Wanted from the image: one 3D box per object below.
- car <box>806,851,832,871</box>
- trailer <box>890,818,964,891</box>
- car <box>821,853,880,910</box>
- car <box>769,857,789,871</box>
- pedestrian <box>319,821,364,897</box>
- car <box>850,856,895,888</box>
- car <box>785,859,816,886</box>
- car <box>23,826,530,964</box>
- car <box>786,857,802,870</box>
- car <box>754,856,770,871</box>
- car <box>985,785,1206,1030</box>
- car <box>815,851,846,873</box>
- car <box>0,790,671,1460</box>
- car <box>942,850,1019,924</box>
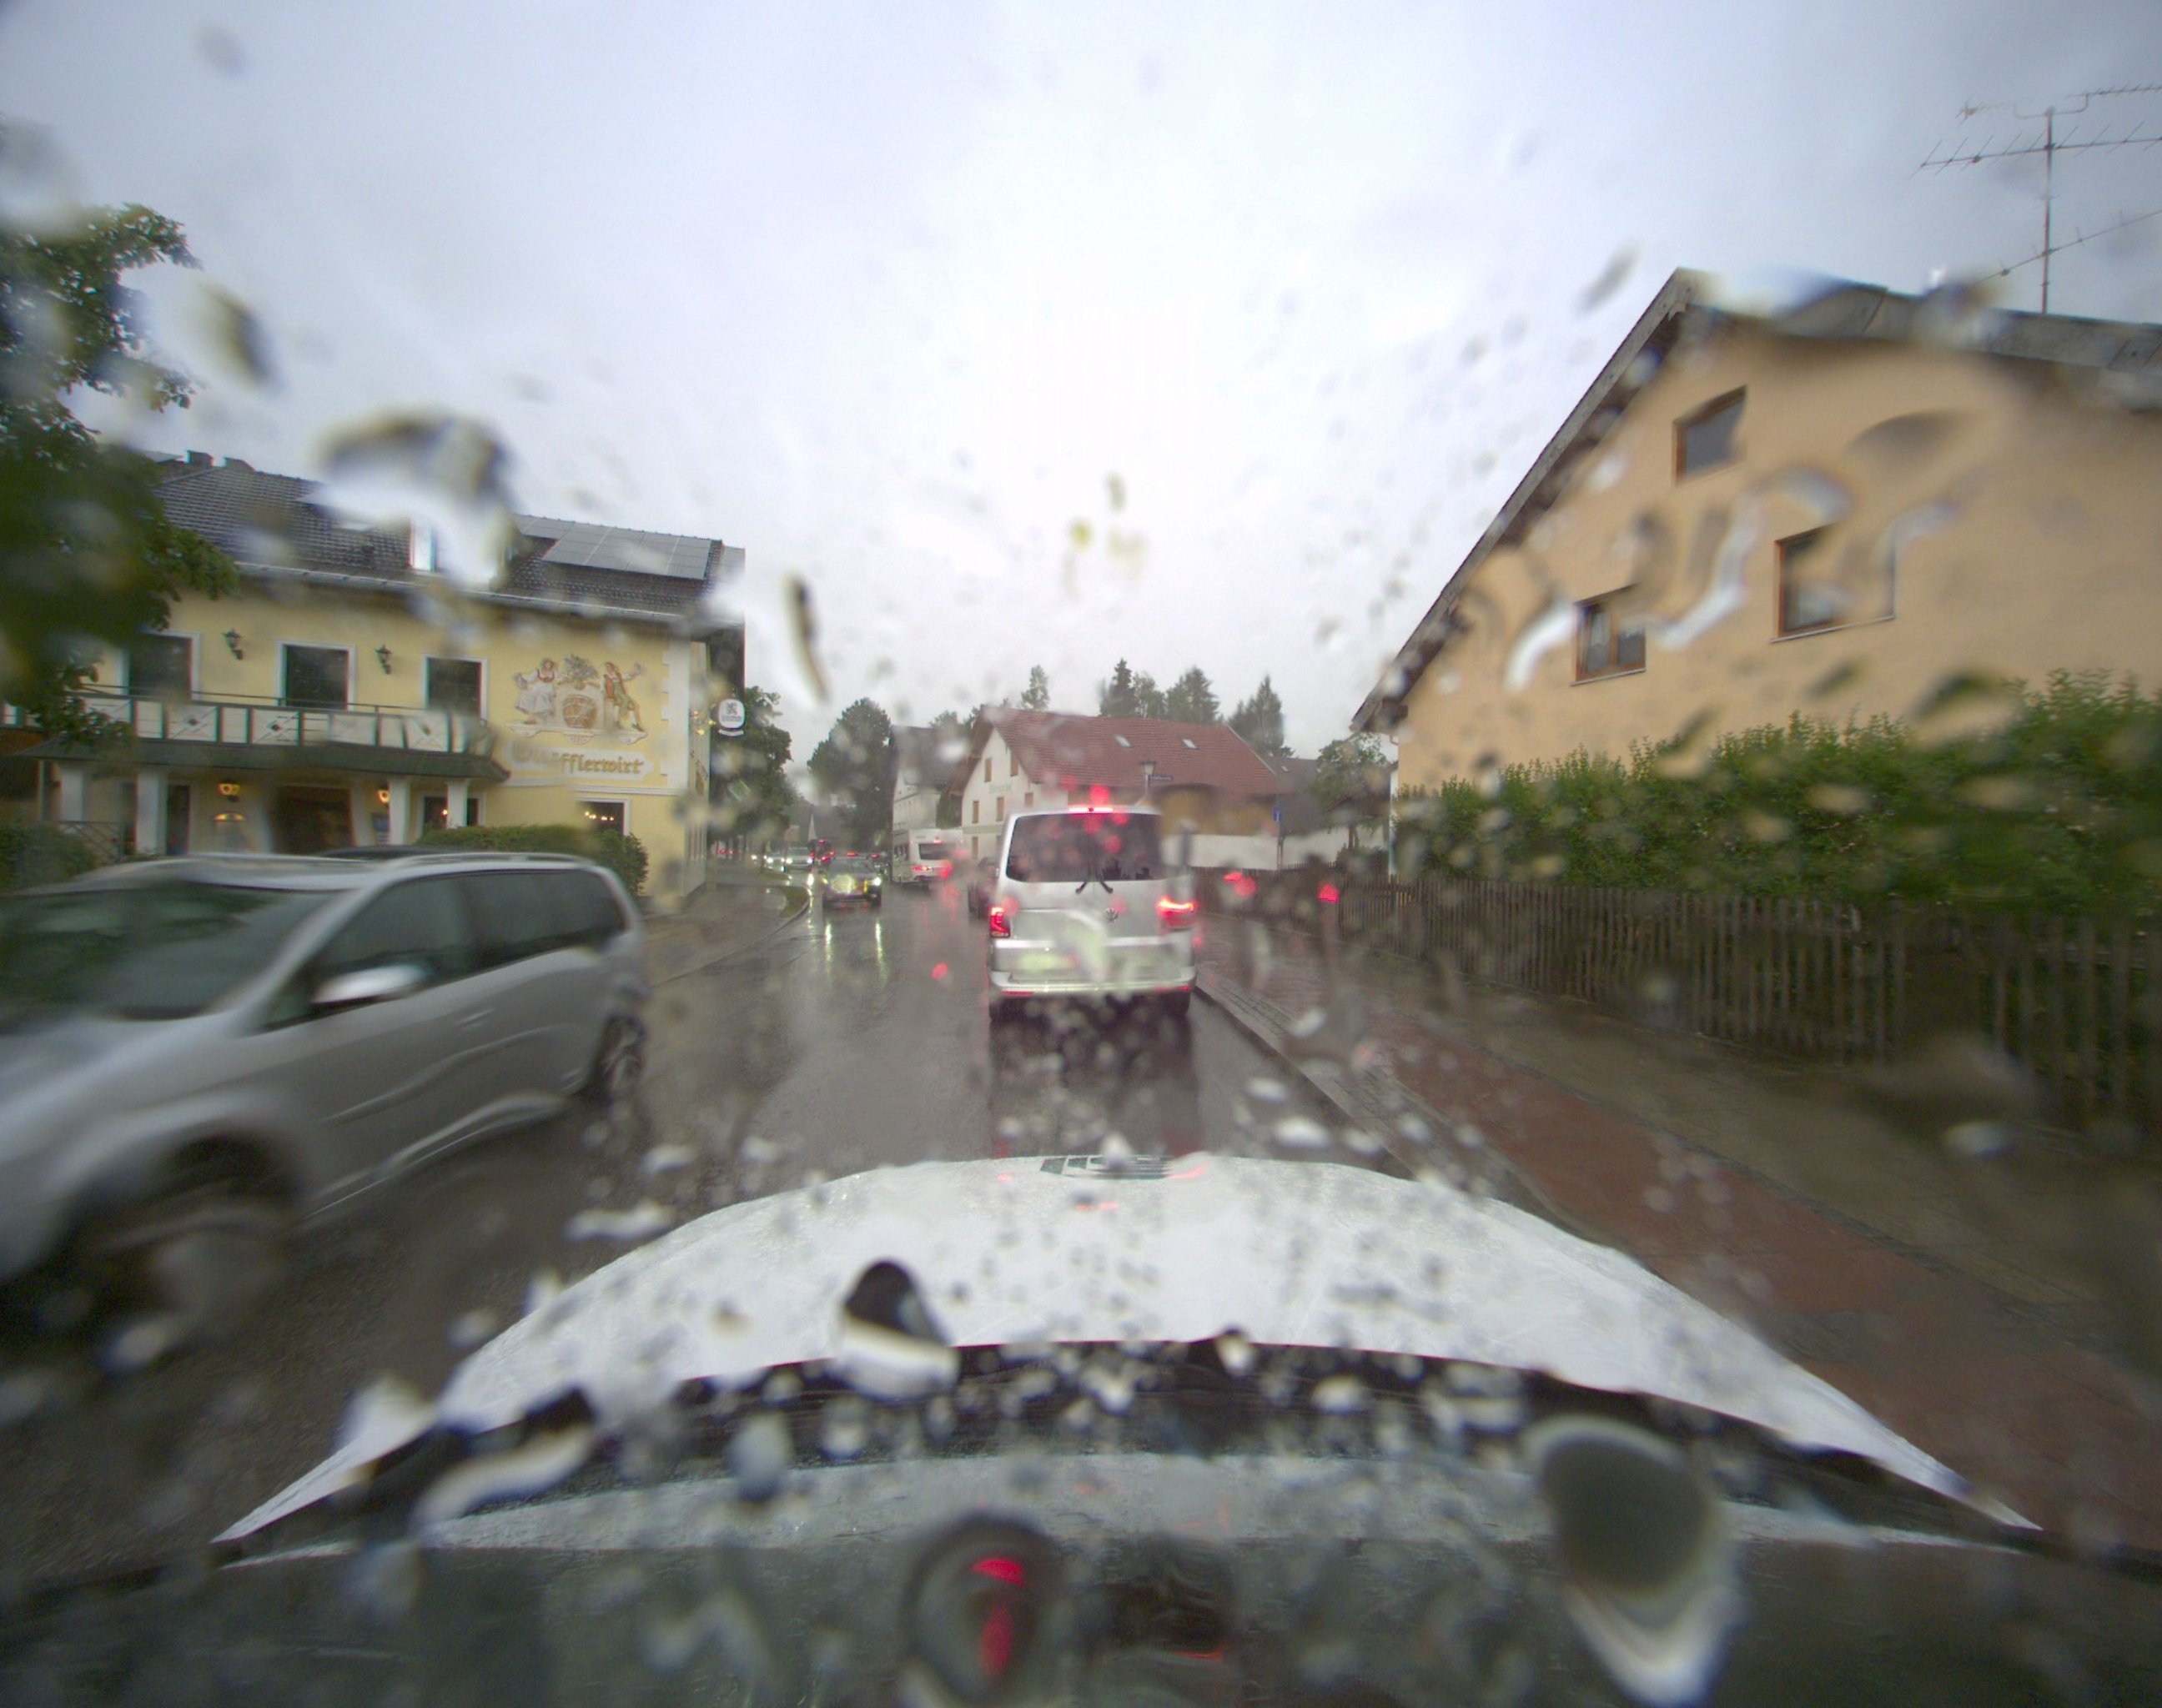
[{"bbox_3d":[-26.943,0.689,83.655,2.178,1.899,4.976,1,0,-23],"label":"car"},{"bbox_3d":[-6.887,0.027,35.924,2.278,2.904,6.091,0,0,-20],"label":"trailer"},{"bbox_3d":[-7.149,0.795,25.114,1.591,1.610,3.516,-1,0,-18],"label":"car"},{"bbox_3d":[-32.803,1.091,88.361,1.869,1.359,4.451,-1,1,-22],"label":"car"},{"bbox_3d":[-16.882,0.117,18.595,0.492,1.690,0.550,4,-1,-19],"label":"pedestrian"},{"bbox_3d":[-14.039,1.175,54.678,2.178,1.899,4.976,1,0,-23],"label":"car"},{"bbox_3d":[-22.260,1.463,64.539,1.859,1.971,4.664,-1,-1,-24],"label":"car"},{"bbox_3d":[-10.461,0.577,11.154,4.497,1.567,1.824,4,1,-25],"label":"car"},{"bbox_3d":[-46.523,1.503,131.843,2.178,1.899,4.976,1,0,-23],"label":"car"},{"bbox_3d":[-41.426,1.201,105.850,1.869,1.758,4.451,-3,1,-21],"label":"car"},{"bbox_3d":[0.146,0.444,9.160,1.770,1.963,5.074,-1,0,1],"label":"car"},{"bbox_3d":[-22.511,0.682,73.067,2.178,1.899,4.976,1,0,-23],"label":"car"},{"bbox_3d":[-3.702,0.713,3.766,1.749,1.677,3.994,-1,0,-4],"label":"car"},{"bbox_3d":[-2.546,0.745,20.927,1.706,1.584,4.675,-2,1,-6],"label":"car"}]
